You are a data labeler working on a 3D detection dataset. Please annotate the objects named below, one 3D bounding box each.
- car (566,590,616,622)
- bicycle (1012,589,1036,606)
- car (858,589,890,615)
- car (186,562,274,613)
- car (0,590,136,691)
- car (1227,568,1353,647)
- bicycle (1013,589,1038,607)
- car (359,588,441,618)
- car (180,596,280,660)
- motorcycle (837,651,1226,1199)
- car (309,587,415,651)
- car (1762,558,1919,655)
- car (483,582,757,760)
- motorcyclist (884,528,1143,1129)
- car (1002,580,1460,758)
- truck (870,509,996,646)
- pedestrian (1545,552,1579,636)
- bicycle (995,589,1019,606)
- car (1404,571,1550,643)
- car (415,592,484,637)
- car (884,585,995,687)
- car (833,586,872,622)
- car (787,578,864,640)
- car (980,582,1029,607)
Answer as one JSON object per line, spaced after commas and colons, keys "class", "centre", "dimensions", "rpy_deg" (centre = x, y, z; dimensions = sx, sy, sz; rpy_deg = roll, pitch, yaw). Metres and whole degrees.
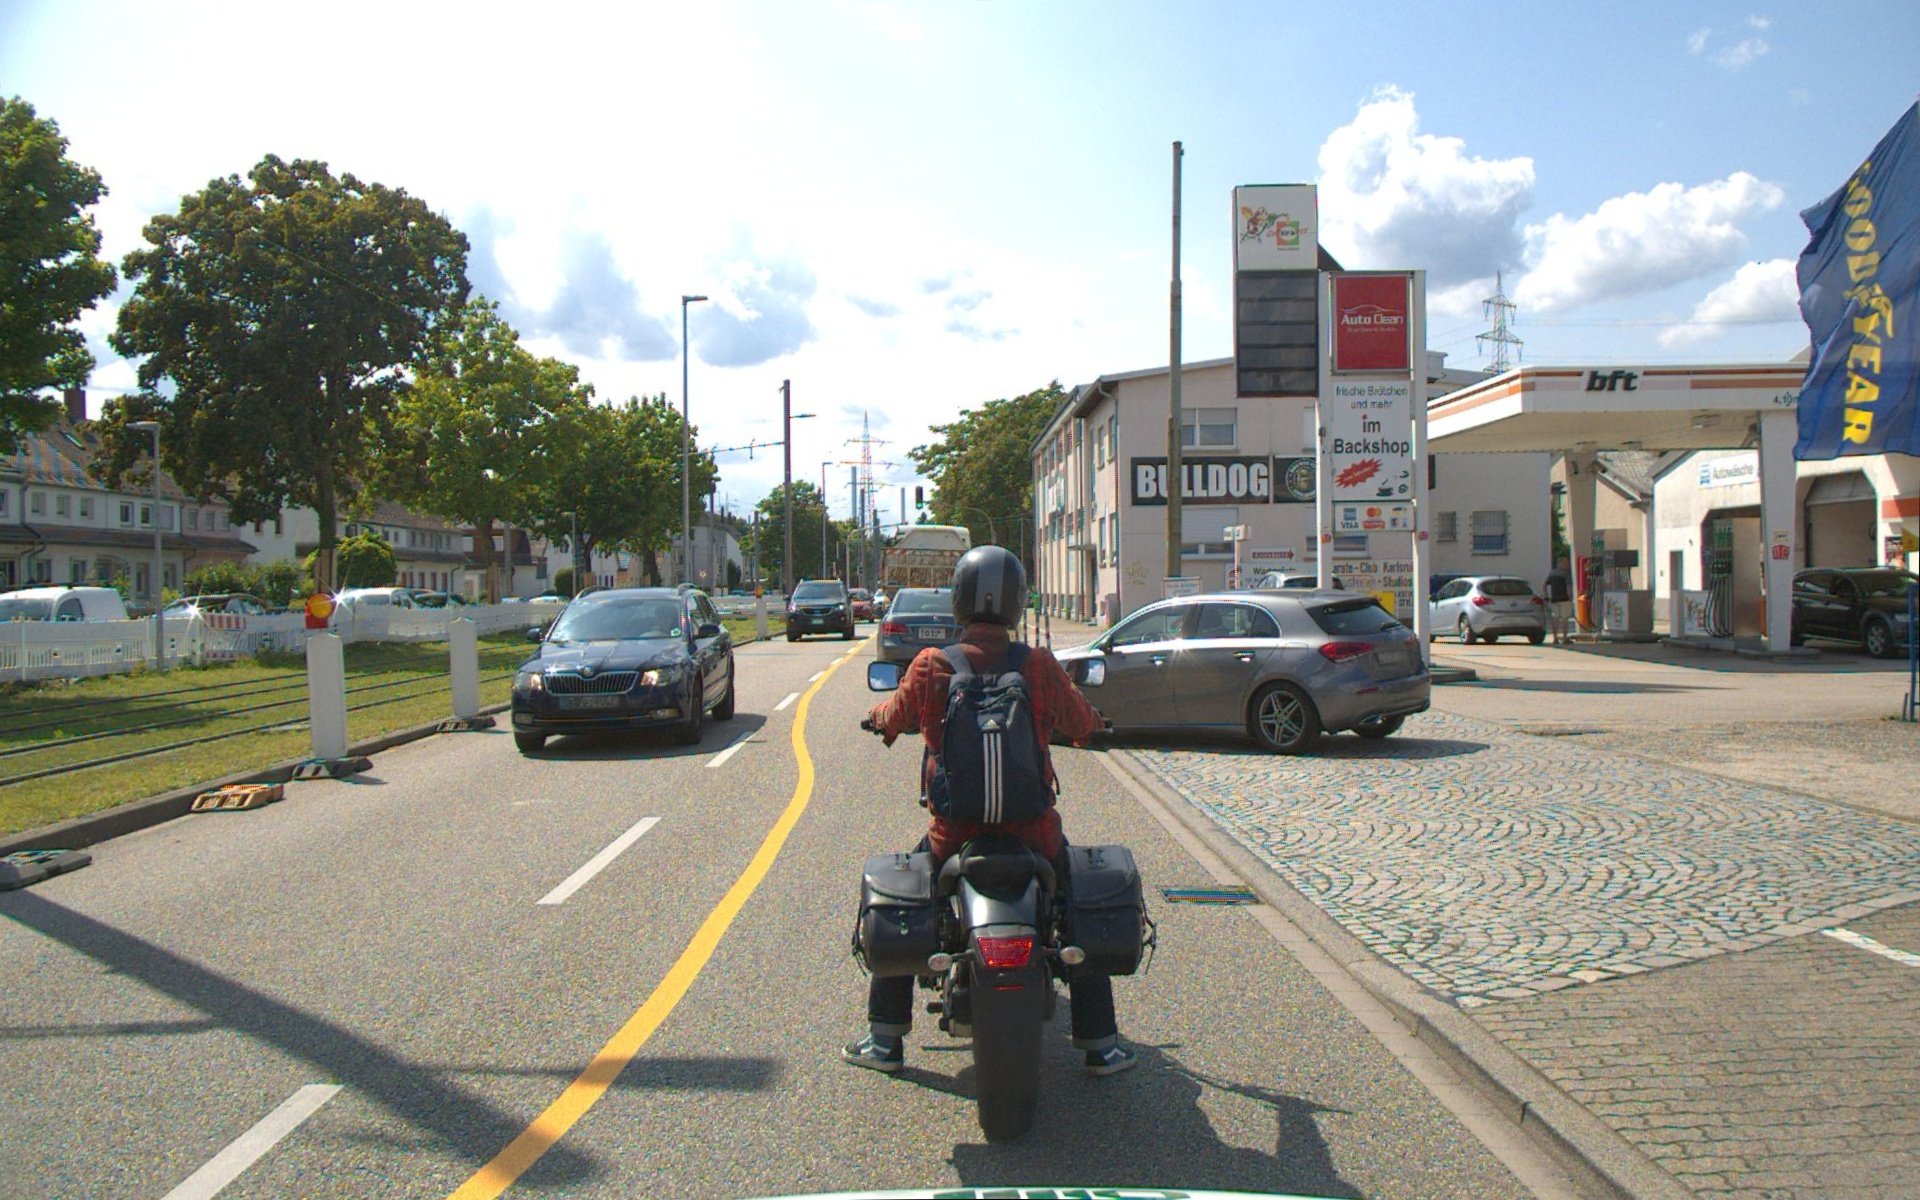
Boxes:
{"class": "car", "centre": [-16.731, 0.284, 75.141], "dimensions": [1.491, 1.378, 3.620], "rpy_deg": [1, 0, -1]}
{"class": "bicycle", "centre": [4.539, -0.193, 117.292], "dimensions": [1.672, 1.192, 0.438], "rpy_deg": [1, -1, 4]}
{"class": "car", "centre": [-5.142, 0.142, 98.812], "dimensions": [1.784, 1.470, 4.482], "rpy_deg": [-2, 0, -2]}
{"class": "car", "centre": [-30.584, -0.512, 69.407], "dimensions": [1.953, 2.049, 3.999], "rpy_deg": [1, 0, -2]}
{"class": "car", "centre": [-16.432, 0.698, 29.369], "dimensions": [1.619, 1.654, 4.000], "rpy_deg": [-2, 0, -1]}
{"class": "car", "centre": [7.321, 0.151, 37.132], "dimensions": [1.906, 1.653, 4.616], "rpy_deg": [0, 0, 0]}
{"class": "bicycle", "centre": [4.621, -0.140, 116.643], "dimensions": [1.672, 1.192, 0.438], "rpy_deg": [1, -1, 4]}
{"class": "car", "centre": [-30.644, 0.152, 90.569], "dimensions": [3.906, 1.536, 1.725], "rpy_deg": [-1, 0, -2]}
{"class": "car", "centre": [-16.418, 0.610, 37.285], "dimensions": [1.050, 1.371, 2.449], "rpy_deg": [-2, 0, 3]}
{"class": "motorcycle", "centre": [0.156, 0.828, 5.247], "dimensions": [0.923, 1.221, 2.472], "rpy_deg": [1, 0, -1]}
{"class": "car", "centre": [-16.839, 0.519, 46.758], "dimensions": [1.590, 1.680, 3.898], "rpy_deg": [-2, 0, -1]}
{"class": "car", "centre": [16.452, 0.047, 29.905], "dimensions": [1.648, 1.546, 4.493], "rpy_deg": [-1, 2, -1]}
{"class": "car", "centre": [-3.291, 0.608, 16.907], "dimensions": [1.675, 1.512, 4.538], "rpy_deg": [-2, 0, 2]}
{"class": "motorcyclist", "centre": [0.142, 0.625, 4.867], "dimensions": [0.684, 1.632, 0.692], "rpy_deg": [1, -1, -1]}
{"class": "car", "centre": [2.498, 0.568, 15.806], "dimensions": [4.013, 1.428, 1.727], "rpy_deg": [2, 0, 41]}
{"class": "truck", "centre": [-0.552, -0.521, 43.452], "dimensions": [2.906, 3.228, 7.765], "rpy_deg": [1, 0, 2]}
{"class": "pedestrian", "centre": [13.007, -0.131, 35.768], "dimensions": [0.487, 1.807, 0.577], "rpy_deg": [1, -1, -4]}
{"class": "bicycle", "centre": [3.339, -0.193, 117.855], "dimensions": [1.672, 1.192, 0.438], "rpy_deg": [1, -1, 4]}
{"class": "car", "centre": [11.700, 0.163, 37.739], "dimensions": [1.658, 1.496, 4.420], "rpy_deg": [-2, 0, -4]}
{"class": "car", "centre": [-16.918, 0.475, 54.919], "dimensions": [1.323, 1.401, 3.113], "rpy_deg": [-2, 0, -1]}
{"class": "car", "centre": [-0.288, 0.515, 26.291], "dimensions": [1.610, 1.469, 3.748], "rpy_deg": [1, 1, 0]}
{"class": "car", "centre": [-4.734, 0.177, 73.154], "dimensions": [1.546, 1.495, 3.719], "rpy_deg": [1, 0, -1]}
{"class": "car", "centre": [-3.896, 0.254, 48.461], "dimensions": [1.759, 1.719, 4.222], "rpy_deg": [-1, 0, 2]}
{"class": "car", "centre": [3.674, -0.462, 136.315], "dimensions": [1.773, 1.959, 3.972], "rpy_deg": [1, -1, 44]}
